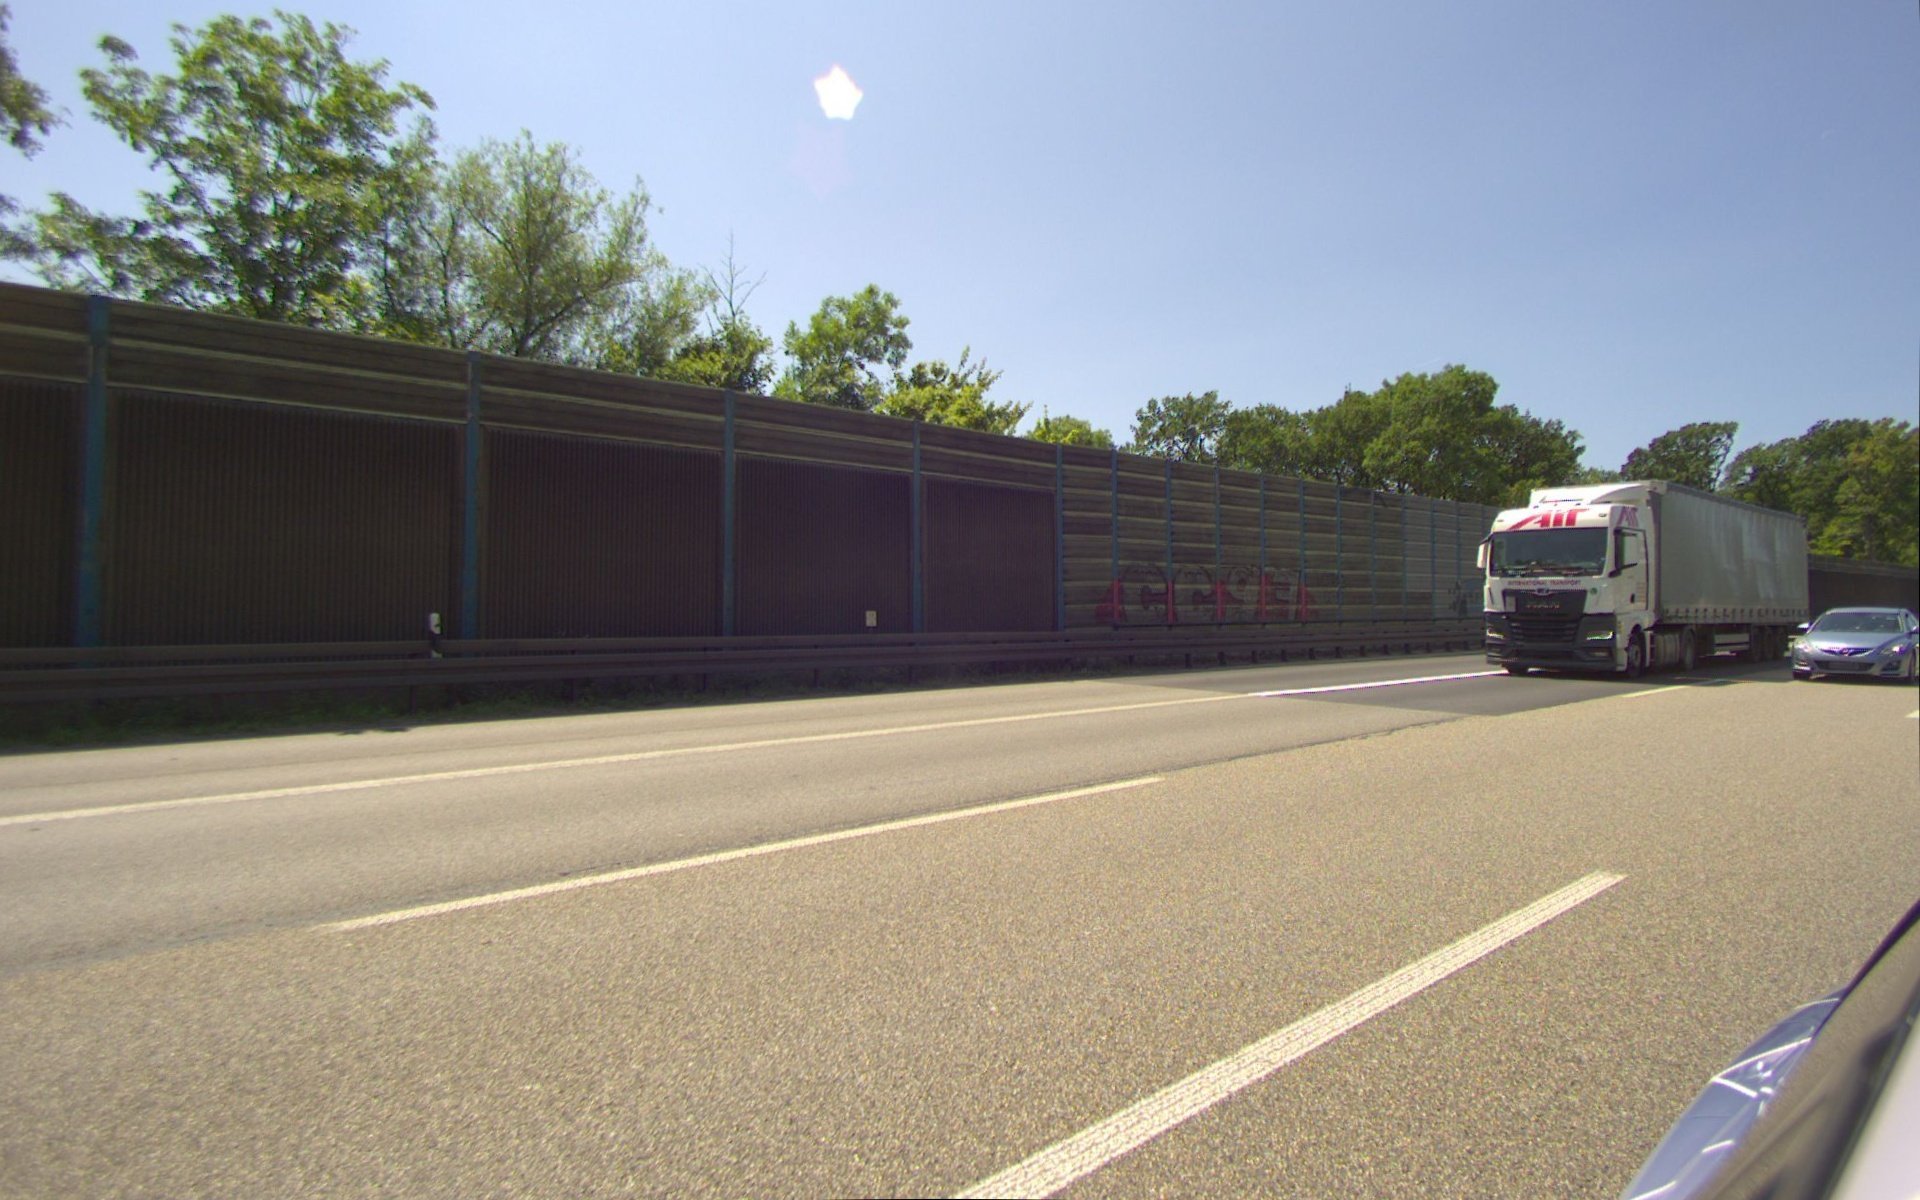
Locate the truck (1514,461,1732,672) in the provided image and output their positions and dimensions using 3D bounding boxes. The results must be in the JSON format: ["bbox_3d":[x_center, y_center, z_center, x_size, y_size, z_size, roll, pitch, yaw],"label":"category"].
[{"bbox_3d":[14.874,-0.684,22.597,5.453,4.142,2.604,0,0,-40],"label":"truck"}]

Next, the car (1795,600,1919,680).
[{"bbox_3d":[18.315,0.735,20.155,4.101,1.452,1.860,1,-1,-40],"label":"car"}]

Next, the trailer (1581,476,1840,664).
[{"bbox_3d":[20.903,-0.698,27.620,13.349,4.142,2.603,0,0,-40],"label":"trailer"}]
